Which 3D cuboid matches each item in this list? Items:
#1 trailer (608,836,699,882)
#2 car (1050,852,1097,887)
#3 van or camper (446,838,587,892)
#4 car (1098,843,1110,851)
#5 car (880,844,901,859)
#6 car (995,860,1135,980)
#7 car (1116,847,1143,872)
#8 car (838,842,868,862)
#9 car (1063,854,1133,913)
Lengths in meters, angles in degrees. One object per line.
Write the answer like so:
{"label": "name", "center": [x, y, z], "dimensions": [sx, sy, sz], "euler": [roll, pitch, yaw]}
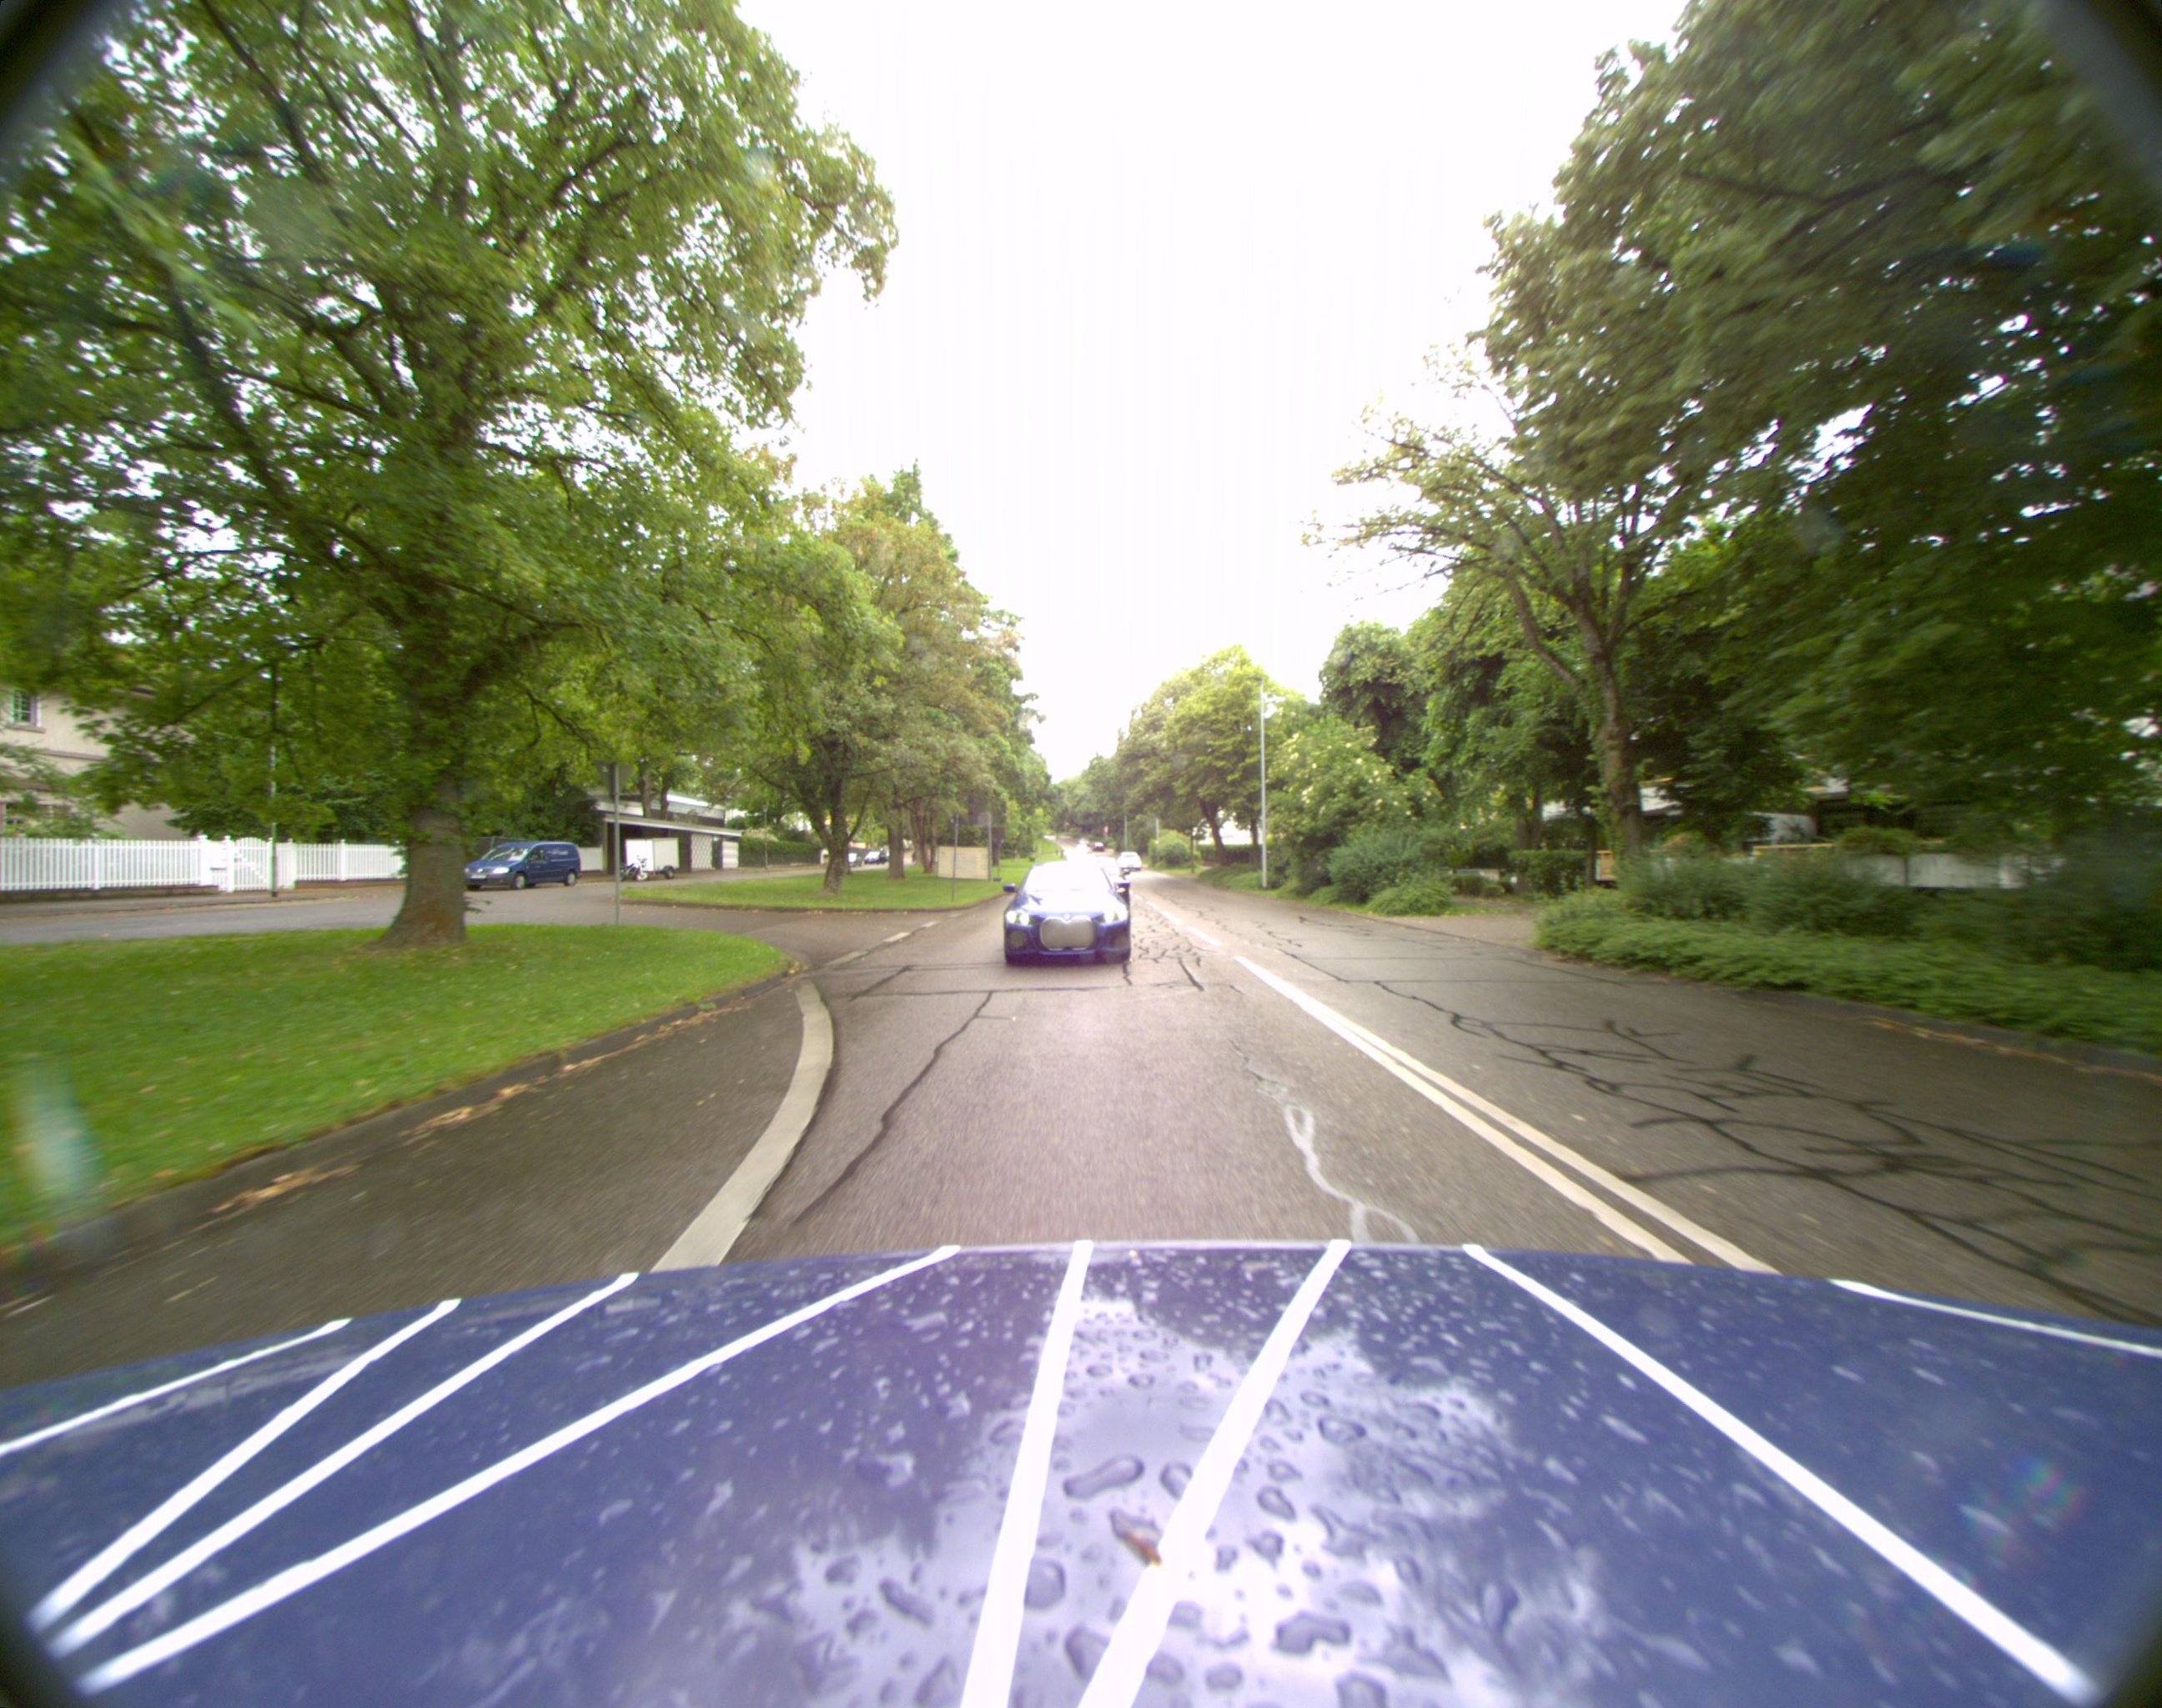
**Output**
{"label": "trailer", "center": [-21.458, 0.215, 38.403], "dimensions": [1.771, 2.104, 5.191], "euler": [-2, 1, -2]}
{"label": "car", "center": [-0.414, 0.697, 36.353], "dimensions": [2.032, 1.471, 4.066], "euler": [-2, 1, -3]}
{"label": "van or camper", "center": [-21.198, 0.363, 28.834], "dimensions": [1.999, 1.798, 4.773], "euler": [-2, 1, -5]}
{"label": "car", "center": [3.675, -1.157, 122.377], "dimensions": [1.769, 1.341, 4.376], "euler": [1, 1, -2]}
{"label": "car", "center": [-26.171, -0.318, 104.299], "dimensions": [1.999, 2.001, 4.000], "euler": [0, -2, -2]}
{"label": "car", "center": [-0.228, 0.913, 12.316], "dimensions": [1.826, 1.471, 4.066], "euler": [-2, 1, 0]}
{"label": "car", "center": [3.879, 0.456, 61.607], "dimensions": [1.998, 2.001, 4.574], "euler": [0, -1, 1]}
{"label": "car", "center": [-24.089, -0.242, 80.283], "dimensions": [1.999, 2.002, 3.999], "euler": [0, 1, 0]}
{"label": "car", "center": [0.442, 0.792, 22.367], "dimensions": [1.826, 1.471, 4.066], "euler": [-2, 1, 0]}
